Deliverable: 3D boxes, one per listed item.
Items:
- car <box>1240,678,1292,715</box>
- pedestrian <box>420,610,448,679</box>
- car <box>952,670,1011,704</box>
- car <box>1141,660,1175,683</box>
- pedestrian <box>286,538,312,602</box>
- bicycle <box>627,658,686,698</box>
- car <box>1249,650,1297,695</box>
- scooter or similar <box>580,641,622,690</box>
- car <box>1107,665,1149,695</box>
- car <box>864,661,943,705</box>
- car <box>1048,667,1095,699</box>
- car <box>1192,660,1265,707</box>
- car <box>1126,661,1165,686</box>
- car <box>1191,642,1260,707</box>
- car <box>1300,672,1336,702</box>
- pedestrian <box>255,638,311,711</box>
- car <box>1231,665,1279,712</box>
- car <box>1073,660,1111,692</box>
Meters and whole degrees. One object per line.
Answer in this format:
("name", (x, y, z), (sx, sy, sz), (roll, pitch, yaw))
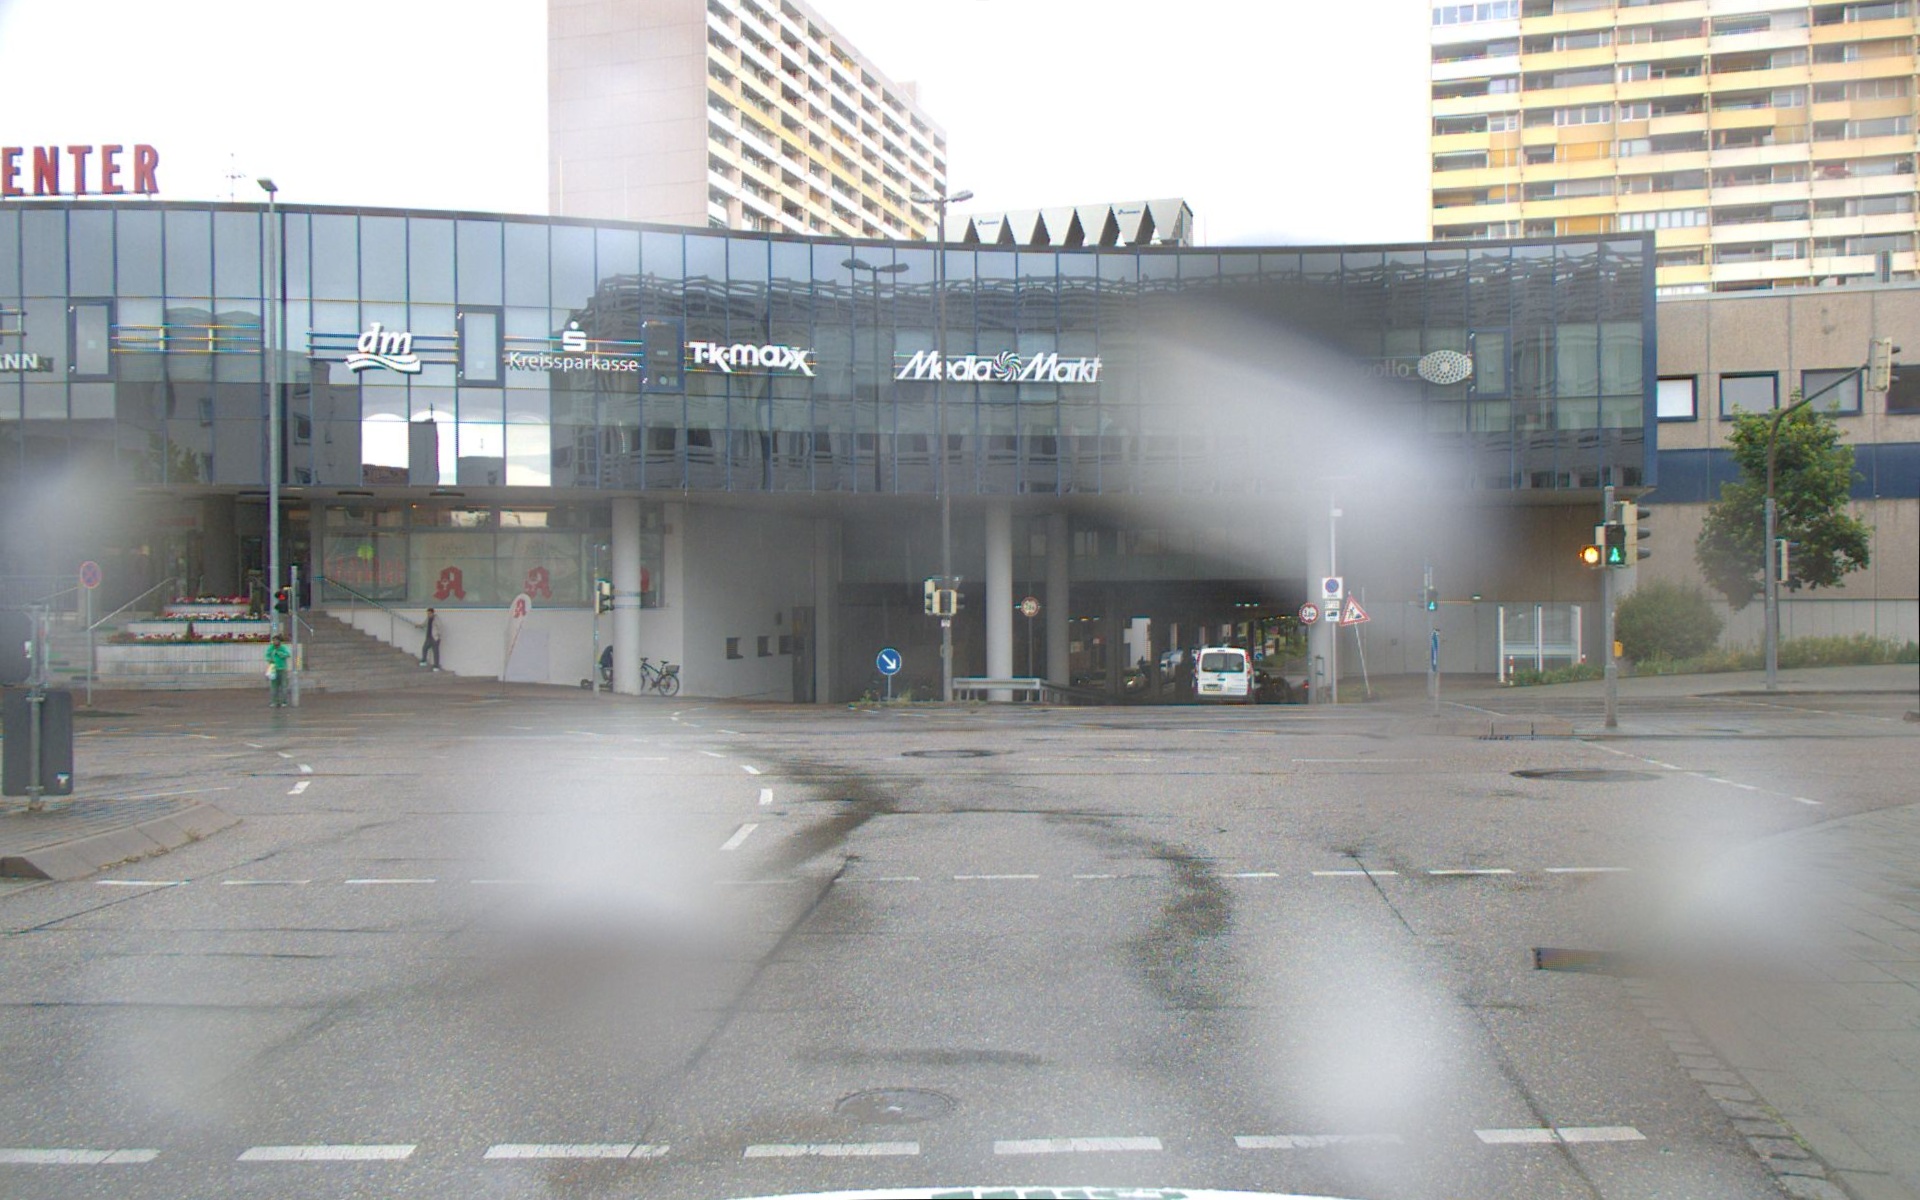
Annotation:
("car", (12.262, 3.892, 66.176), (1.741, 1.425, 4.002), (-1, -4, 15))
("pedestrian", (-14.888, 1.245, 46.802), (0.643, 1.942, 0.593), (1, -1, -9))
("car", (0.999, 3.917, 74.382), (1.733, 1.490, 3.878), (-1, -3, 15))
("car", (13.755, 4.933, 114.729), (1.951, 1.489, 4.003), (-1, -1, 12))
("pedestrian", (-19.268, -0.859, 48.234), (0.622, 1.839, 0.501), (1, -1, -18))
("bicycle", (-8.901, 2.289, 48.547), (1.566, 1.035, 0.447), (7, -4, -32))
("car", (13.452, 3.084, 70.912), (1.753, 1.802, 4.003), (-1, -1, 14))
("scooter or similar", (-10.428, 1.897, 48.018), (1.147, 1.397, 0.487), (1, -1, -16))
("car", (10.350, 4.911, 101.958), (1.951, 1.693, 4.003), (1, -1, 15))
("car", (-2.078, 3.162, 62.440), (1.852, 1.496, 4.029), (-1, -5, 16))
("car", (6.188, 4.570, 91.312), (1.874, 1.616, 3.941), (-1, -1, 15))
("car", (9.178, 2.872, 56.315), (1.721, 1.490, 3.943), (-2, -4, 20))
("car", (12.307, 4.850, 109.625), (1.951, 1.489, 4.003), (-1, -1, 15))
("car", (7.852, 2.180, 48.702), (1.884, 1.829, 4.299), (-1, -2, 10))
("car", (19.741, 4.777, 91.127), (1.847, 1.517, 3.844), (1, -1, 13))
("pedestrian", (-15.655, 1.713, 38.255), (0.929, 1.652, 0.809), (-1, -1, 1))
("car", (10.922, 3.306, 61.142), (1.598, 1.640, 4.265), (-2, -4, 11))
("car", (7.684, 4.406, 96.137), (1.797, 1.758, 4.003), (0, -1, 11))
